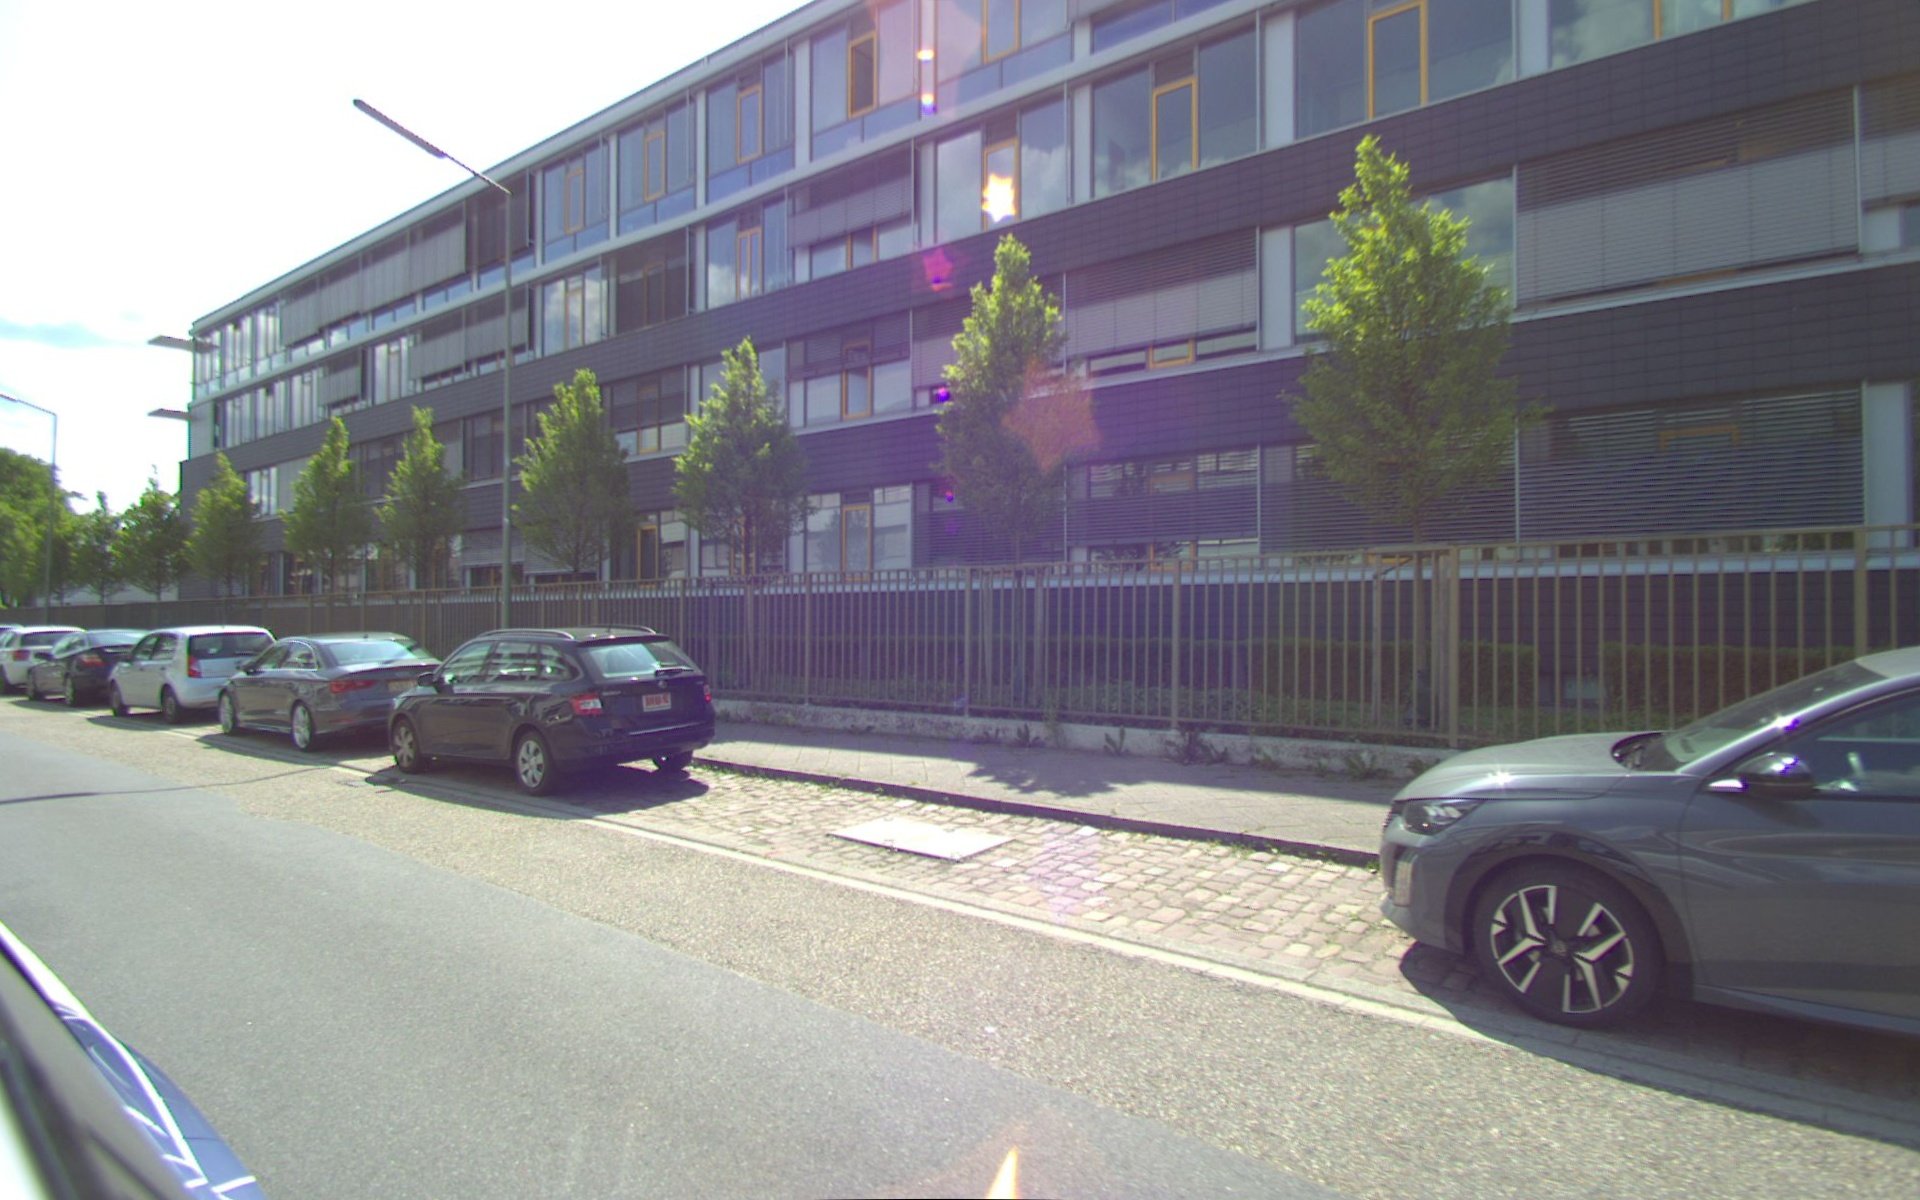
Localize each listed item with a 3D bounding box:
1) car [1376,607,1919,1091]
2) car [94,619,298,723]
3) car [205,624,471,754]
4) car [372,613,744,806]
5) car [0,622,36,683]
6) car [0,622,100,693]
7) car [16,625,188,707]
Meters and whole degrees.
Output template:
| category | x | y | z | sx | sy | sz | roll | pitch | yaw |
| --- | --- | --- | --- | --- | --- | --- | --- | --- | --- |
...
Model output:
| category | x | y | z | sx | sy | sz | roll | pitch | yaw |
| --- | --- | --- | --- | --- | --- | --- | --- | --- | --- |
| car | 3.770 | 0.769 | 3.551 | 3.928 | 1.456 | 1.716 | -1 | 0 | 41 |
| car | -12.680 | 1.105 | 16.753 | 3.507 | 1.493 | 1.648 | -1 | 0 | 34 |
| car | -8.350 | 1.067 | 13.466 | 4.099 | 1.407 | 1.646 | -1 | 0 | 37 |
| car | -4.154 | 0.955 | 10.194 | 3.993 | 1.542 | 1.646 | -2 | 0 | 37 |
| car | -25.438 | 1.337 | 26.188 | 3.736 | 1.527 | 1.549 | -1 | -2 | 36 |
| car | -20.920 | 1.248 | 22.780 | 3.736 | 1.466 | 1.549 | -1 | -2 | 36 |
| car | -16.791 | 1.217 | 19.748 | 3.991 | 1.415 | 1.651 | -1 | -1 | 36 |
